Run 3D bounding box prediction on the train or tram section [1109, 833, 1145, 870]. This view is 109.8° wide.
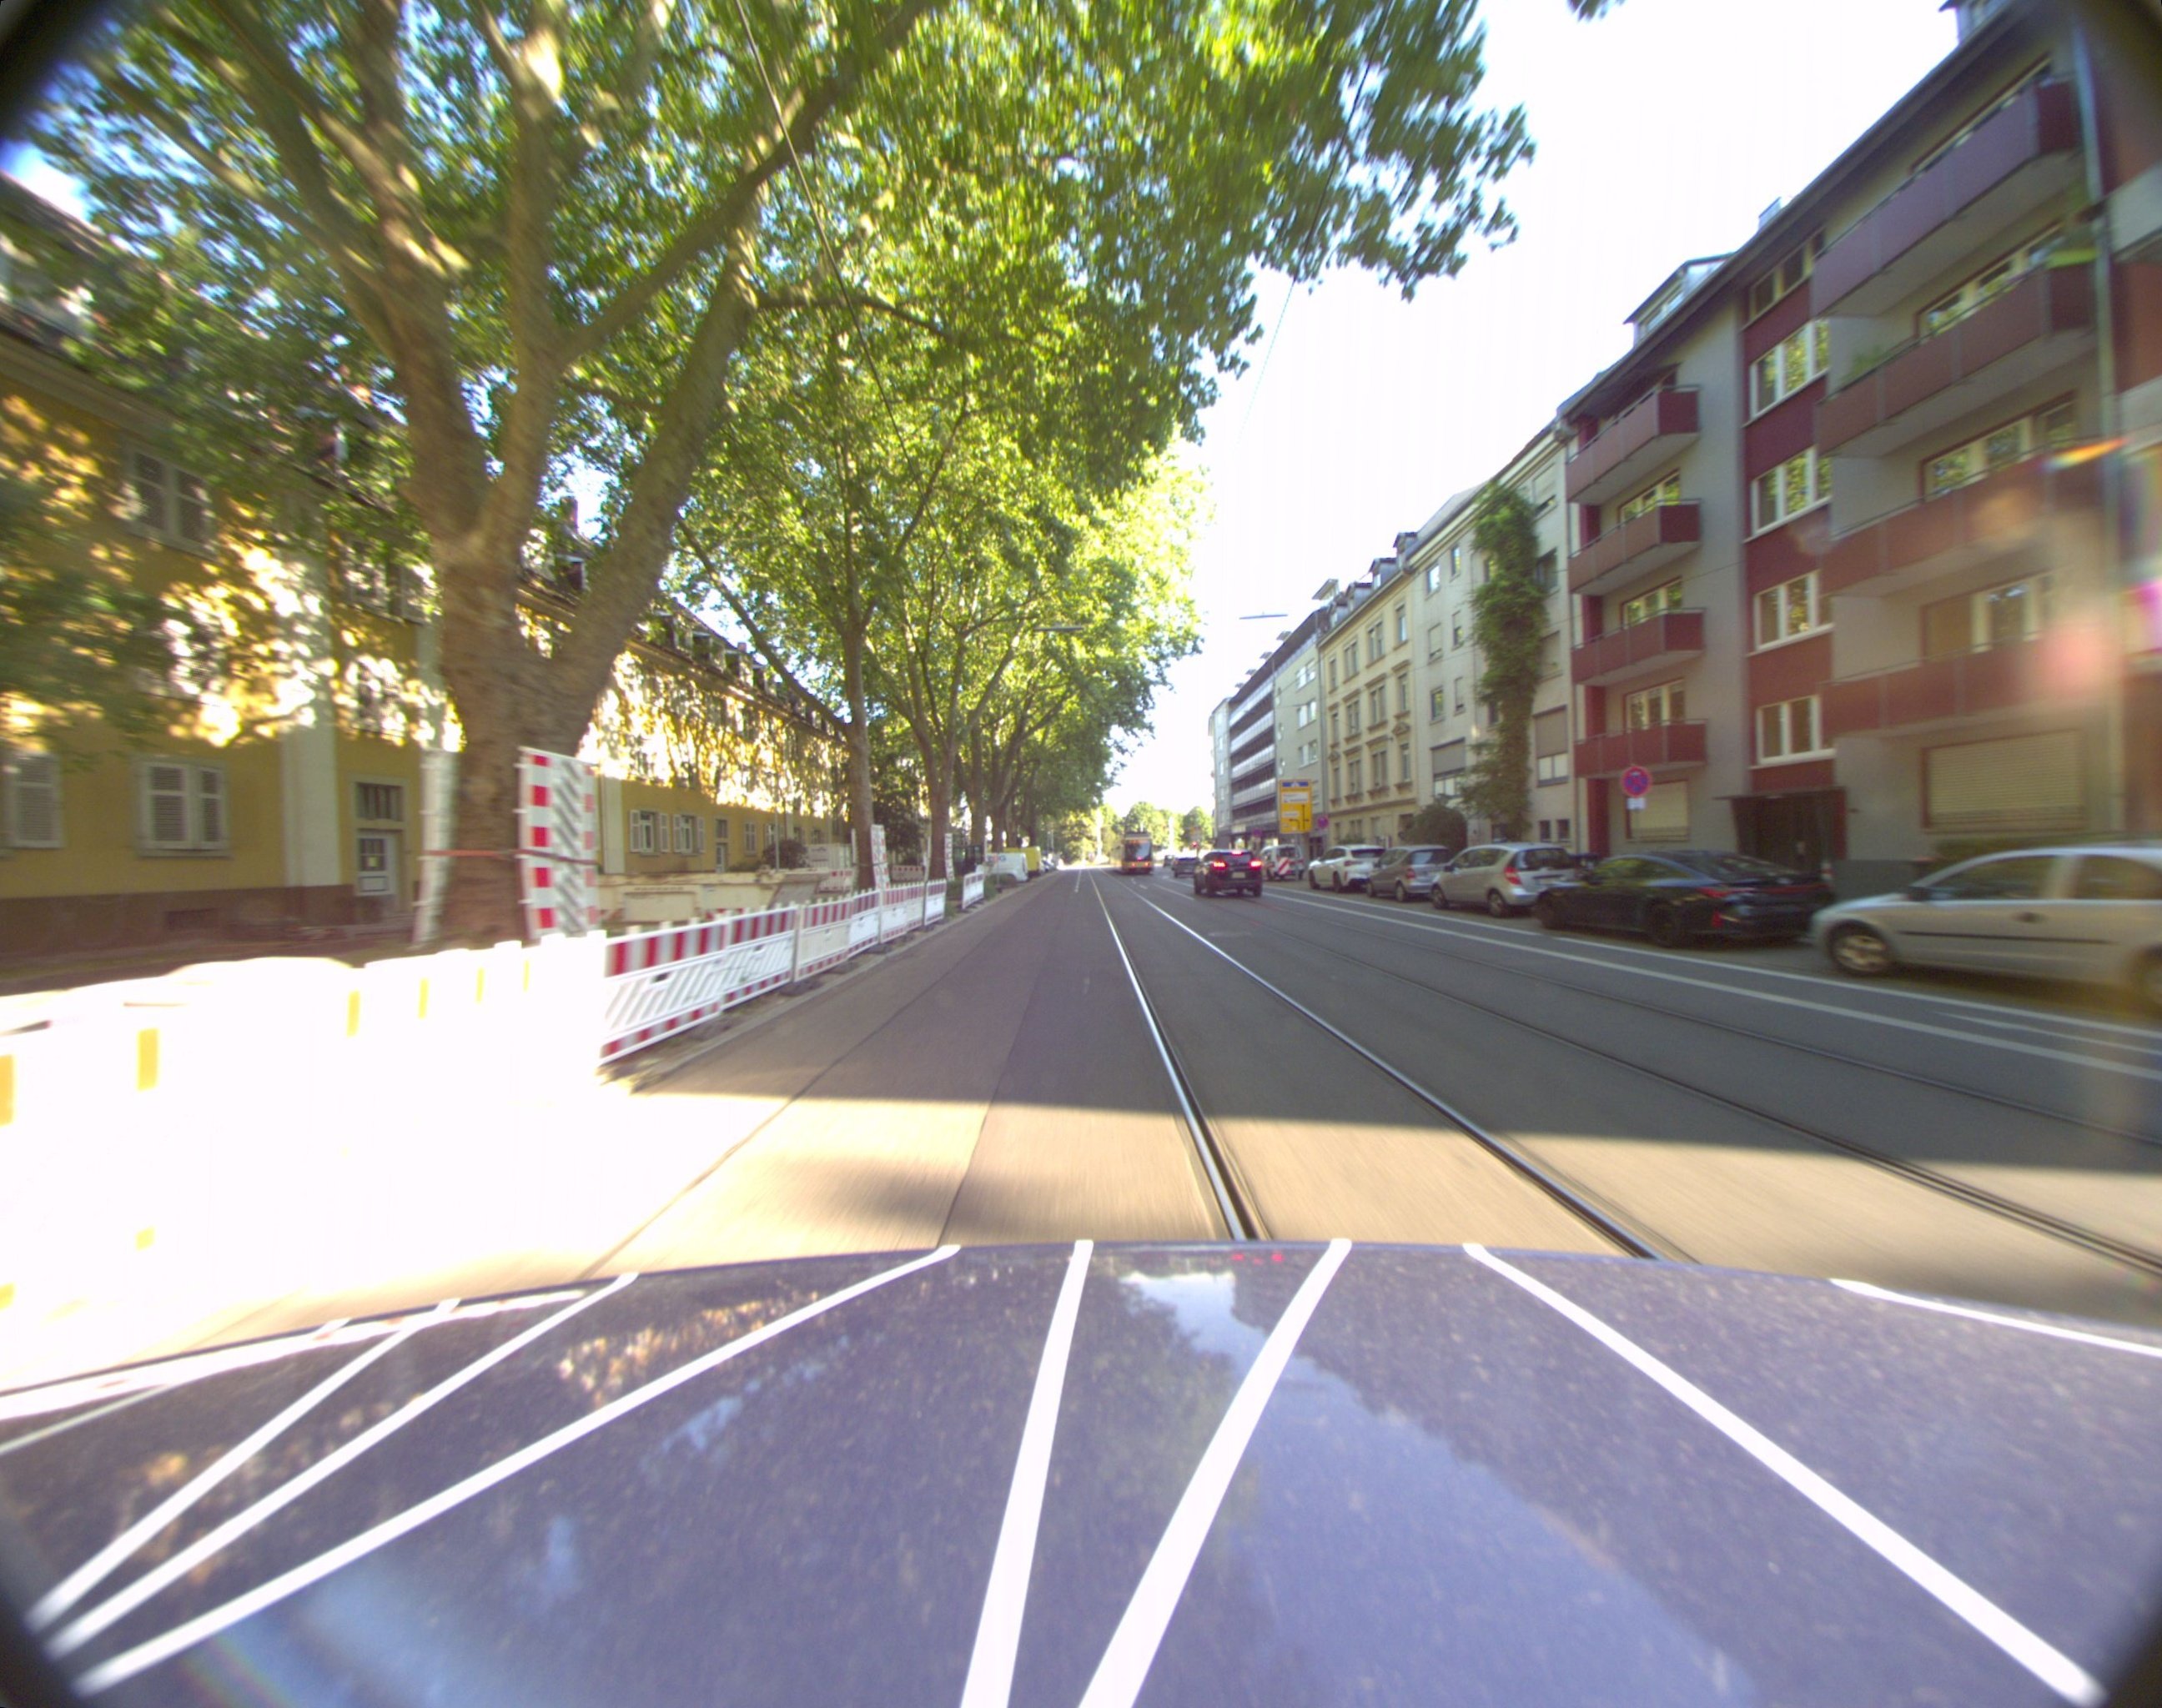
[{"bbox_3d":[4.628,-0.234,79.200,2.916,3.465,13.369,-2,0,0],"label":"train or tram section"}]

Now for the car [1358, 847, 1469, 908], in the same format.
[{"bbox_3d":[9.712,0.620,22.501,1.630,1.563,3.781,-3,1,2],"label":"car"}]

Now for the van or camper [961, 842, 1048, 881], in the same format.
[{"bbox_3d":[-5.489,0.520,54.946,5.940,2.614,2.270,-1,1,2],"label":"van or camper"}]

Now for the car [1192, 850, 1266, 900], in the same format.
[{"bbox_3d":[5.203,0.669,27.257,1.857,1.591,4.464,-1,1,1],"label":"car"}]

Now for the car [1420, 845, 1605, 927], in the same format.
[{"bbox_3d":[9.680,0.644,17.455,1.824,1.577,4.004,-3,0,-2],"label":"car"}]

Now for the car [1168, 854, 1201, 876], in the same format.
[{"bbox_3d":[7.033,0.744,51.954,1.800,1.437,4.053,-1,0,1],"label":"car"}]

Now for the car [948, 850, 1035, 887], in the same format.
[{"bbox_3d":[-5.271,0.842,45.244,4.847,2.001,2.063,-1,0,0],"label":"car"}]

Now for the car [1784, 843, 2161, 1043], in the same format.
[{"bbox_3d":[9.306,0.692,7.107,1.729,1.474,3.929,-4,0,-1],"label":"car"}]

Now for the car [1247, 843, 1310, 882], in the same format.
[{"bbox_3d":[9.991,0.412,38.771,1.793,1.760,4.470,-3,0,-3],"label":"car"}]

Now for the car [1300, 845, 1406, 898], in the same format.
[{"bbox_3d":[9.737,0.553,27.651,1.957,1.639,4.881,-3,1,-1],"label":"car"}]

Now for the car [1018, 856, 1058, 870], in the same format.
[{"bbox_3d":[-5.677,1.146,100.019,5.126,1.845,1.914,0,1,0],"label":"car"}]

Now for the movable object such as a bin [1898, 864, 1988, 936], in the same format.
[{"bbox_3d":[13.241,0.695,11.688,0.566,1.042,0.721,-1,1,2],"label":"movable object such as a bin"}]

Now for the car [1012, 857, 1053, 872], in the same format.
[{"bbox_3d":[-5.443,1.179,85.593,4.437,1.648,1.908,-1,0,-1],"label":"car"}]

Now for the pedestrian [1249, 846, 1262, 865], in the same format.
[{"bbox_3d":[15.748,0.148,68.583,0.789,1.703,0.820,-5,1,0],"label":"pedestrian"}]

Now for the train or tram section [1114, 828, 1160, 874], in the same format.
[{"bbox_3d":[4.604,-0.239,65.399,2.916,3.465,14.197,-2,0,0],"label":"train or tram section"}]

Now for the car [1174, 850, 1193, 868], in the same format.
[{"bbox_3d":[10.342,0.501,76.391,1.799,1.438,4.716,-1,3,8],"label":"car"}]

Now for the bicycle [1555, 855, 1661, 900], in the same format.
[{"bbox_3d":[14.554,0.639,21.018,2.457,1.056,0.699,-3,1,-3],"label":"bicycle"}]

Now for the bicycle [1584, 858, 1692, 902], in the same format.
[{"bbox_3d":[14.544,0.663,19.868,2.296,0.987,0.699,-4,1,-3],"label":"bicycle"}]

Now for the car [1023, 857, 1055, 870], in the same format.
[{"bbox_3d":[-5.090,1.161,92.156,3.891,1.488,1.741,-1,0,-3],"label":"car"}]

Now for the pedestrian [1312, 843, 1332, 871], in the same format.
[{"bbox_3d":[16.079,0.193,50.669,0.965,1.803,0.729,-4,1,1],"label":"pedestrian"}]

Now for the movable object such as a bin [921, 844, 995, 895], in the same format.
[{"bbox_3d":[-5.662,0.686,35.197,1.482,2.256,3.283,-2,0,34],"label":"movable object such as a bin"}]

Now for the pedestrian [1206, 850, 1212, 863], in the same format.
[{"bbox_3d":[17.414,0.323,103.289,0.716,1.664,0.905,-2,0,10],"label":"pedestrian"}]

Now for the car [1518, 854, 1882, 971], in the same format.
[{"bbox_3d":[9.479,0.762,12.359,1.957,1.387,4.863,-4,0,1],"label":"car"}]
